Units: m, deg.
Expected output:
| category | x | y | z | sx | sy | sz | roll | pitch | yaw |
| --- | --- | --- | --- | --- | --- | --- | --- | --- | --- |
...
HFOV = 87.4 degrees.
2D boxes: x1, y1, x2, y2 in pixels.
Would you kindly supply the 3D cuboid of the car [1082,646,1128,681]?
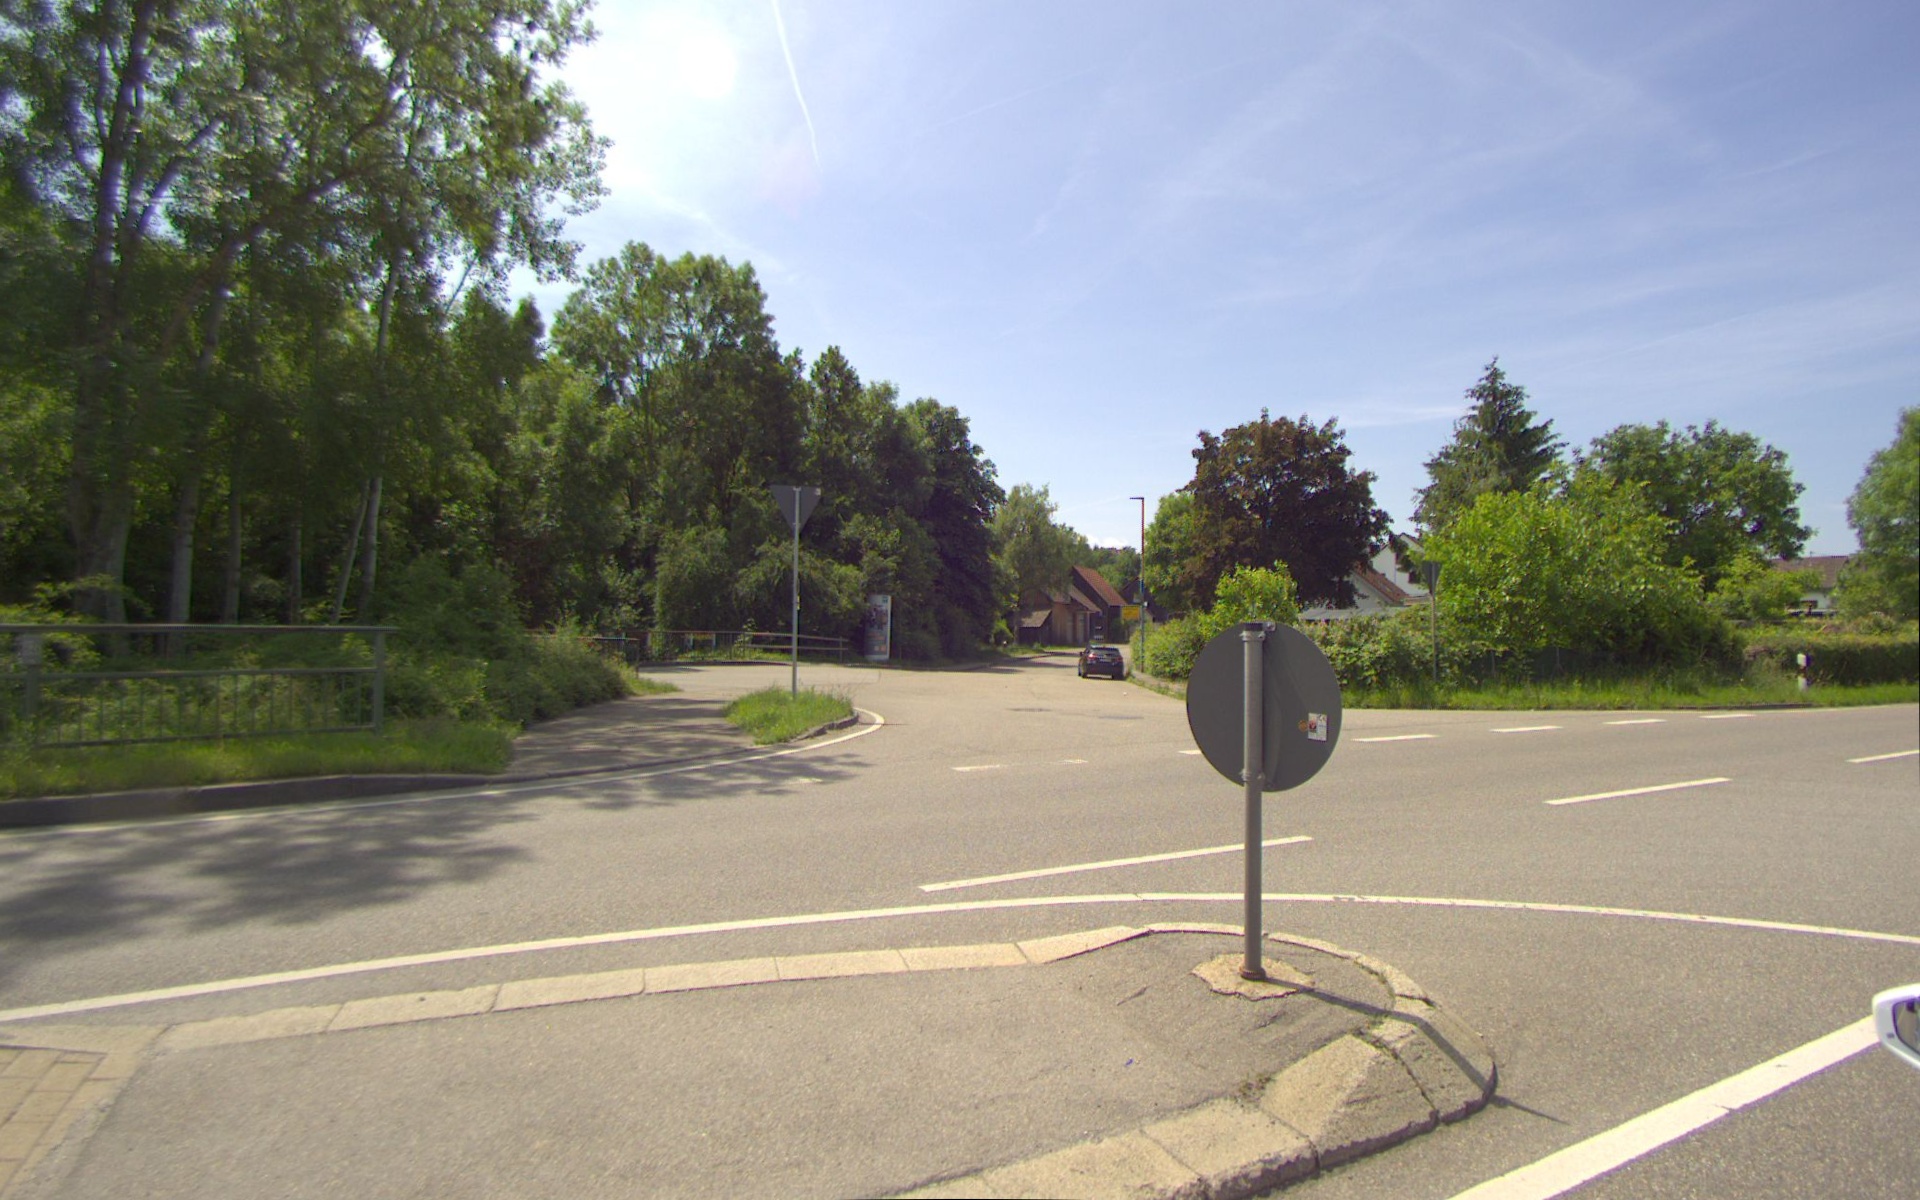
| category | x | y | z | sx | sy | sz | roll | pitch | yaw |
| --- | --- | --- | --- | --- | --- | --- | --- | --- | --- |
| car | 6.408 | 2.809 | 44.743 | 1.762 | 1.375 | 4.003 | 3 | -2 | 5 |
